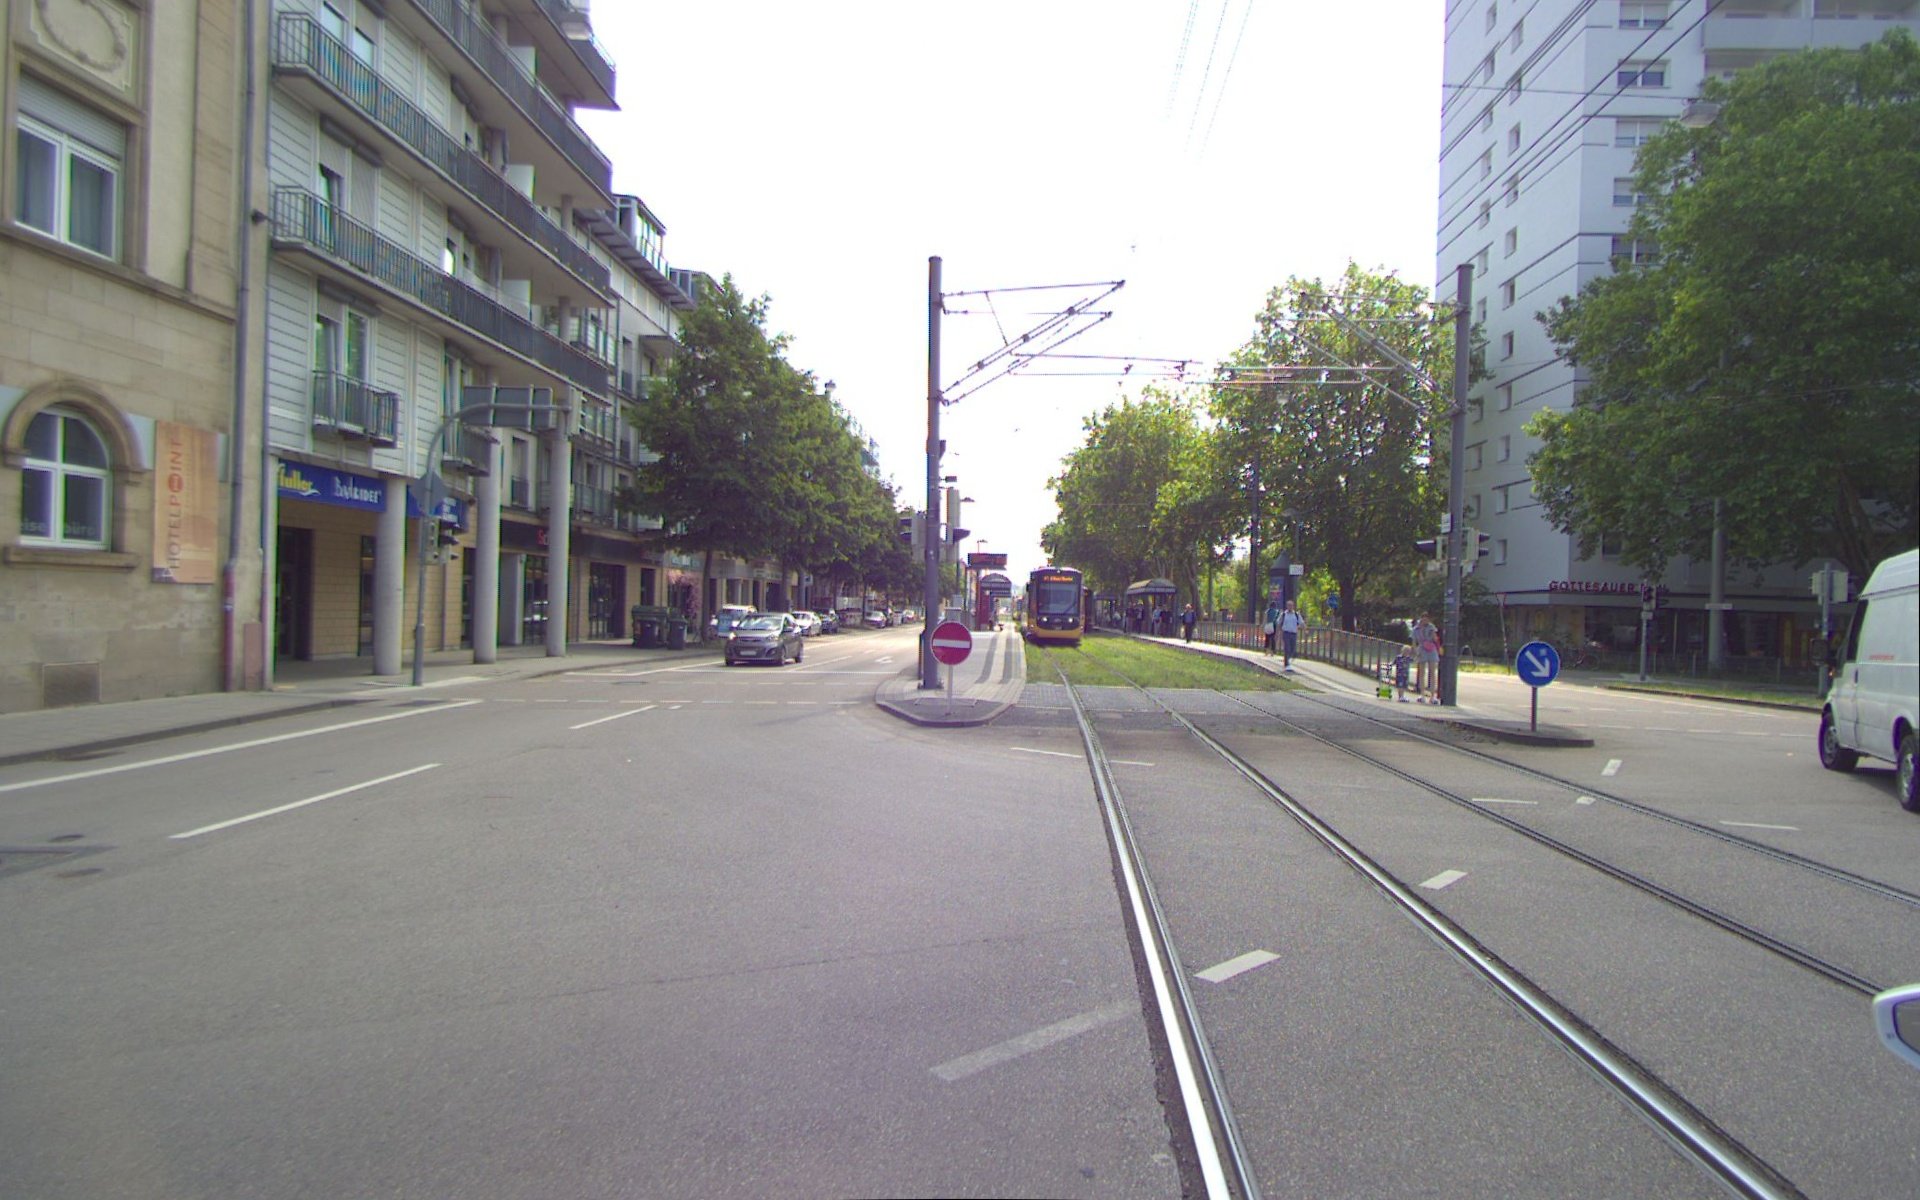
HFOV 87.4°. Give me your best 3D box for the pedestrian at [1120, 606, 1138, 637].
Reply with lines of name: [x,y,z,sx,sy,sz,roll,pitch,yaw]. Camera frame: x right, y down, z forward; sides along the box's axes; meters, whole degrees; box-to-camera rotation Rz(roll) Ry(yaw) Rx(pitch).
pedestrian: [10.251,1.313,61.096,0.871,1.824,1.495,1,-1,2]

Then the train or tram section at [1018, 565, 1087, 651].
train or tram section: [4.376,0.477,49.899,2.760,3.631,13.021,2,-1,3]

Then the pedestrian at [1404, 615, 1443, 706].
pedestrian: [8.840,1.136,19.185,0.614,1.688,0.676,1,0,22]

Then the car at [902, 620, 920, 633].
car: [-5.679,3.072,117.210,1.690,1.389,3.478,1,-1,3]

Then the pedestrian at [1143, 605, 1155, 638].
pedestrian: [10.990,1.253,58.322,0.465,1.925,0.534,1,-1,-21]

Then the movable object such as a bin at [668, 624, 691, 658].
movable object such as a bin: [-9.748,1.416,34.958,0.581,1.132,0.788,1,-1,-2]

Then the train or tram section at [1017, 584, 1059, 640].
train or tram section: [5.556,0.903,73.305,2.678,3.631,13.021,2,-1,3]

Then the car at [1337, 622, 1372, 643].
car: [35.752,2.908,91.116,1.776,1.839,4.341,1,-1,5]

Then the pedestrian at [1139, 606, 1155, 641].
pedestrian: [10.186,1.265,54.747,0.689,1.874,0.908,1,-1,2]

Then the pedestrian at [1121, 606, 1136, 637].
pedestrian: [9.834,1.256,58.667,0.700,1.824,1.133,1,-1,2]

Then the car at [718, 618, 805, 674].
car: [-5.553,1.252,28.474,1.606,1.457,3.644,1,-1,2]

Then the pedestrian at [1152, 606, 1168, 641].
pedestrian: [10.884,1.282,54.615,0.689,1.874,0.789,1,-1,2]

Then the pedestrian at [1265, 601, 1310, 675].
pedestrian: [8.324,0.953,25.563,0.834,1.804,1.045,1,-1,3]

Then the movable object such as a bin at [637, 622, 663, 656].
movable object such as a bin: [-10.754,1.348,34.880,0.638,1.132,0.788,1,-1,-2]

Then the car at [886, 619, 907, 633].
car: [-6.495,2.625,102.506,1.690,1.389,3.706,1,-1,3]

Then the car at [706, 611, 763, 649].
car: [-9.853,1.303,44.163,1.625,1.600,3.478,1,-1,1]

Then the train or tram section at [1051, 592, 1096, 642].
train or tram section: [8.992,1.366,80.917,2.678,3.631,13.021,2,-1,3]

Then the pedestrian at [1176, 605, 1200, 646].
pedestrian: [10.068,1.117,44.393,0.843,1.798,0.877,1,-1,3]

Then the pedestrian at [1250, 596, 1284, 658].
pedestrian: [9.761,0.859,31.941,0.813,1.924,0.847,1,-1,3]

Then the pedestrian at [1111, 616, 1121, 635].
pedestrian: [12.370,2.030,79.701,0.664,1.535,0.596,1,-1,2]

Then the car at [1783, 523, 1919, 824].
car: [9.541,0.641,9.398,2.017,2.364,4.706,1,-1,29]

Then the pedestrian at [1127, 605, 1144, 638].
pedestrian: [10.407,1.286,59.500,0.797,1.897,1.031,1,-1,2]

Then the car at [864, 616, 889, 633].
car: [-7.173,2.121,86.910,1.690,1.389,3.478,1,-1,3]

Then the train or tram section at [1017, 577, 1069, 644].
train or tram section: [4.947,0.683,61.609,2.749,3.631,10.408,2,-1,3]

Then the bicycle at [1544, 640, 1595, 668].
bicycle: [24.245,2.129,39.996,1.698,1.022,0.533,1,-1,30]

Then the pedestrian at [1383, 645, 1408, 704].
pedestrian: [8.241,1.403,18.999,0.412,1.077,0.436,1,-1,24]

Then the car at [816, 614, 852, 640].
car: [-8.041,1.716,64.423,1.690,1.630,3.692,1,-1,3]

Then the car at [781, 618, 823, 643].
car: [-9.073,1.736,57.899,1.690,1.389,3.478,1,-1,3]
